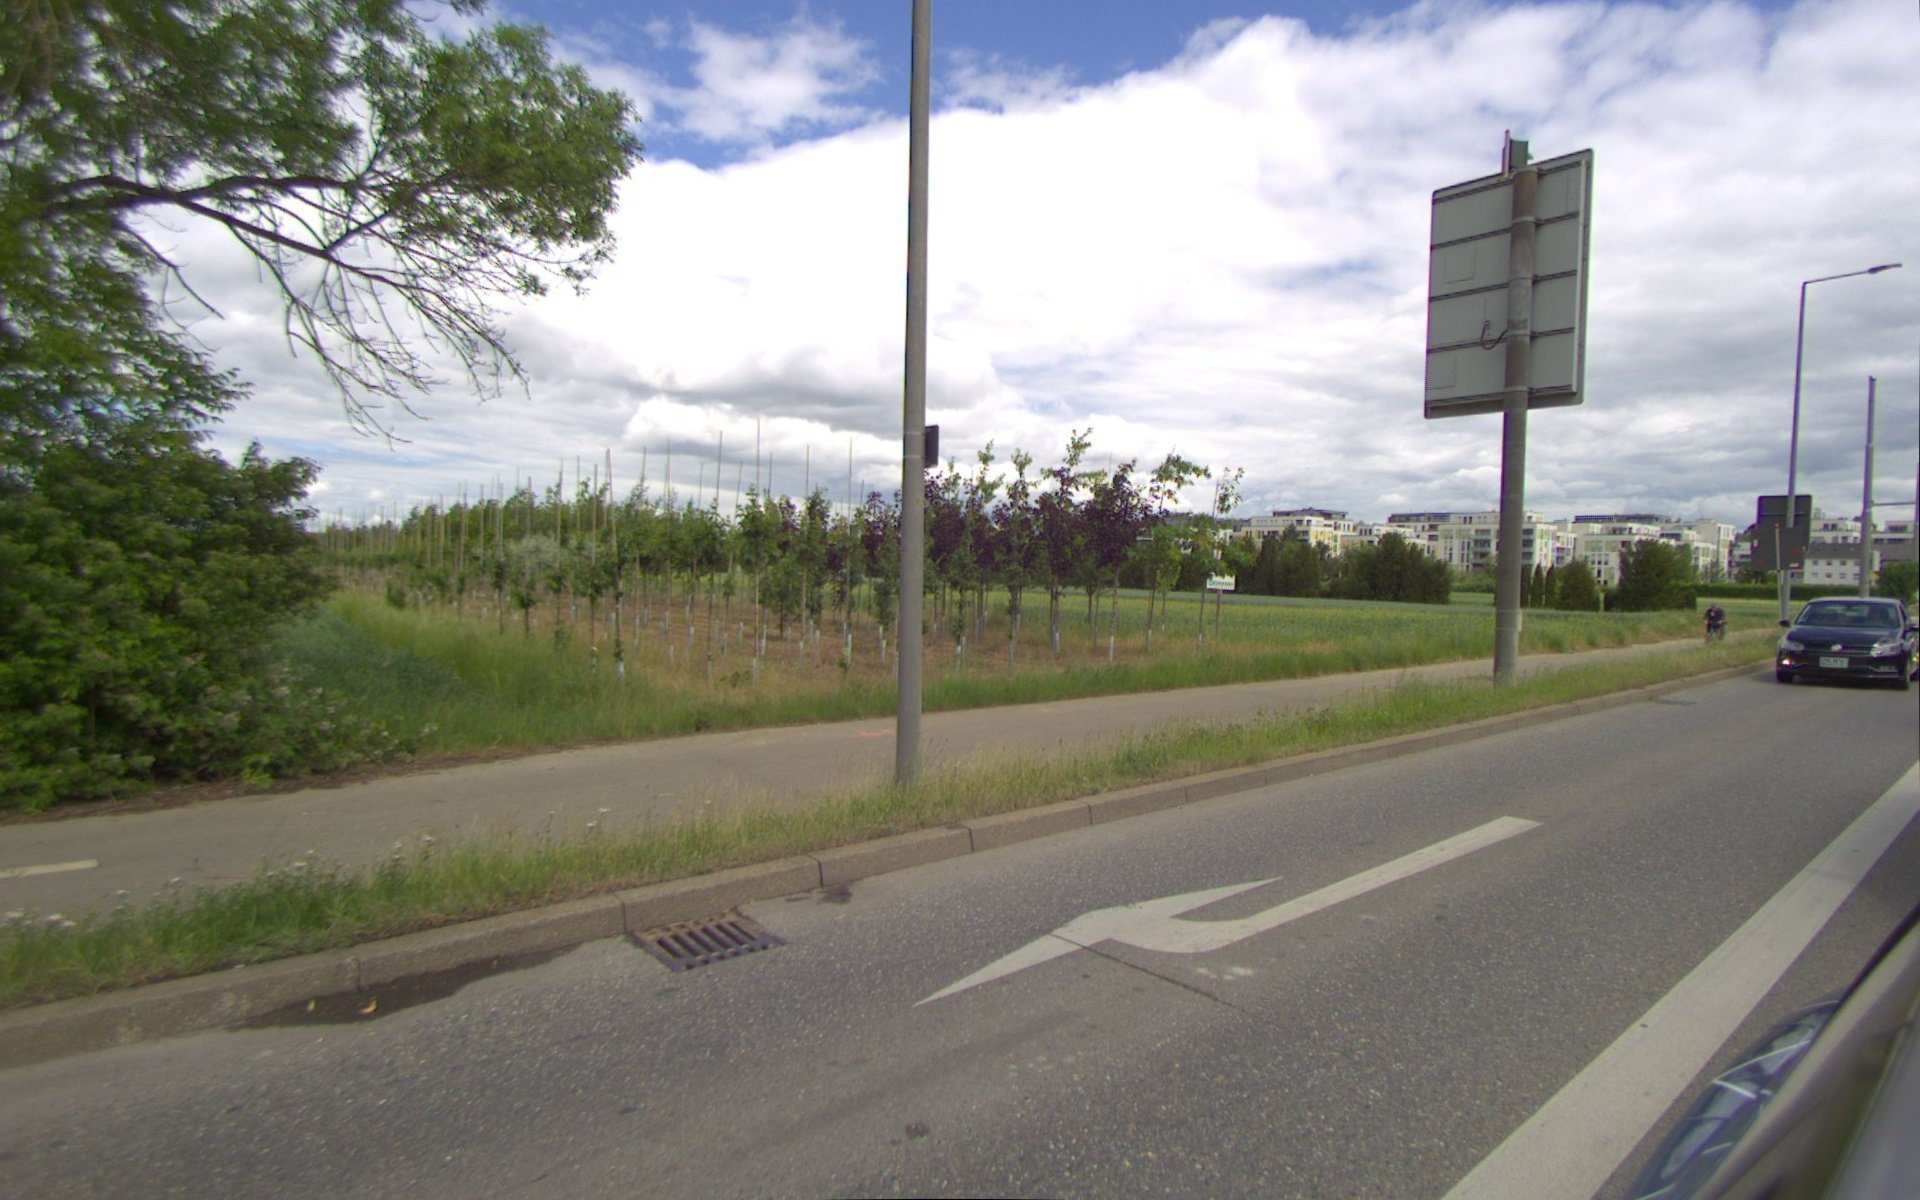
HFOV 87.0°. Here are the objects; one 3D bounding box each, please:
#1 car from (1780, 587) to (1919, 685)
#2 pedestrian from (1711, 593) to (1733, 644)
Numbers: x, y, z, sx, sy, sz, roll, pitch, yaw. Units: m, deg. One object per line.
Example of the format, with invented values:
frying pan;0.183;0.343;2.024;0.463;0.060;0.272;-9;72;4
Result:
car;15.312;0.522;17.138;3.676;1.436;1.681;-1;2;-43
pedestrian;25.776;0.615;34.227;0.615;1.724;0.492;-1;0;-42
